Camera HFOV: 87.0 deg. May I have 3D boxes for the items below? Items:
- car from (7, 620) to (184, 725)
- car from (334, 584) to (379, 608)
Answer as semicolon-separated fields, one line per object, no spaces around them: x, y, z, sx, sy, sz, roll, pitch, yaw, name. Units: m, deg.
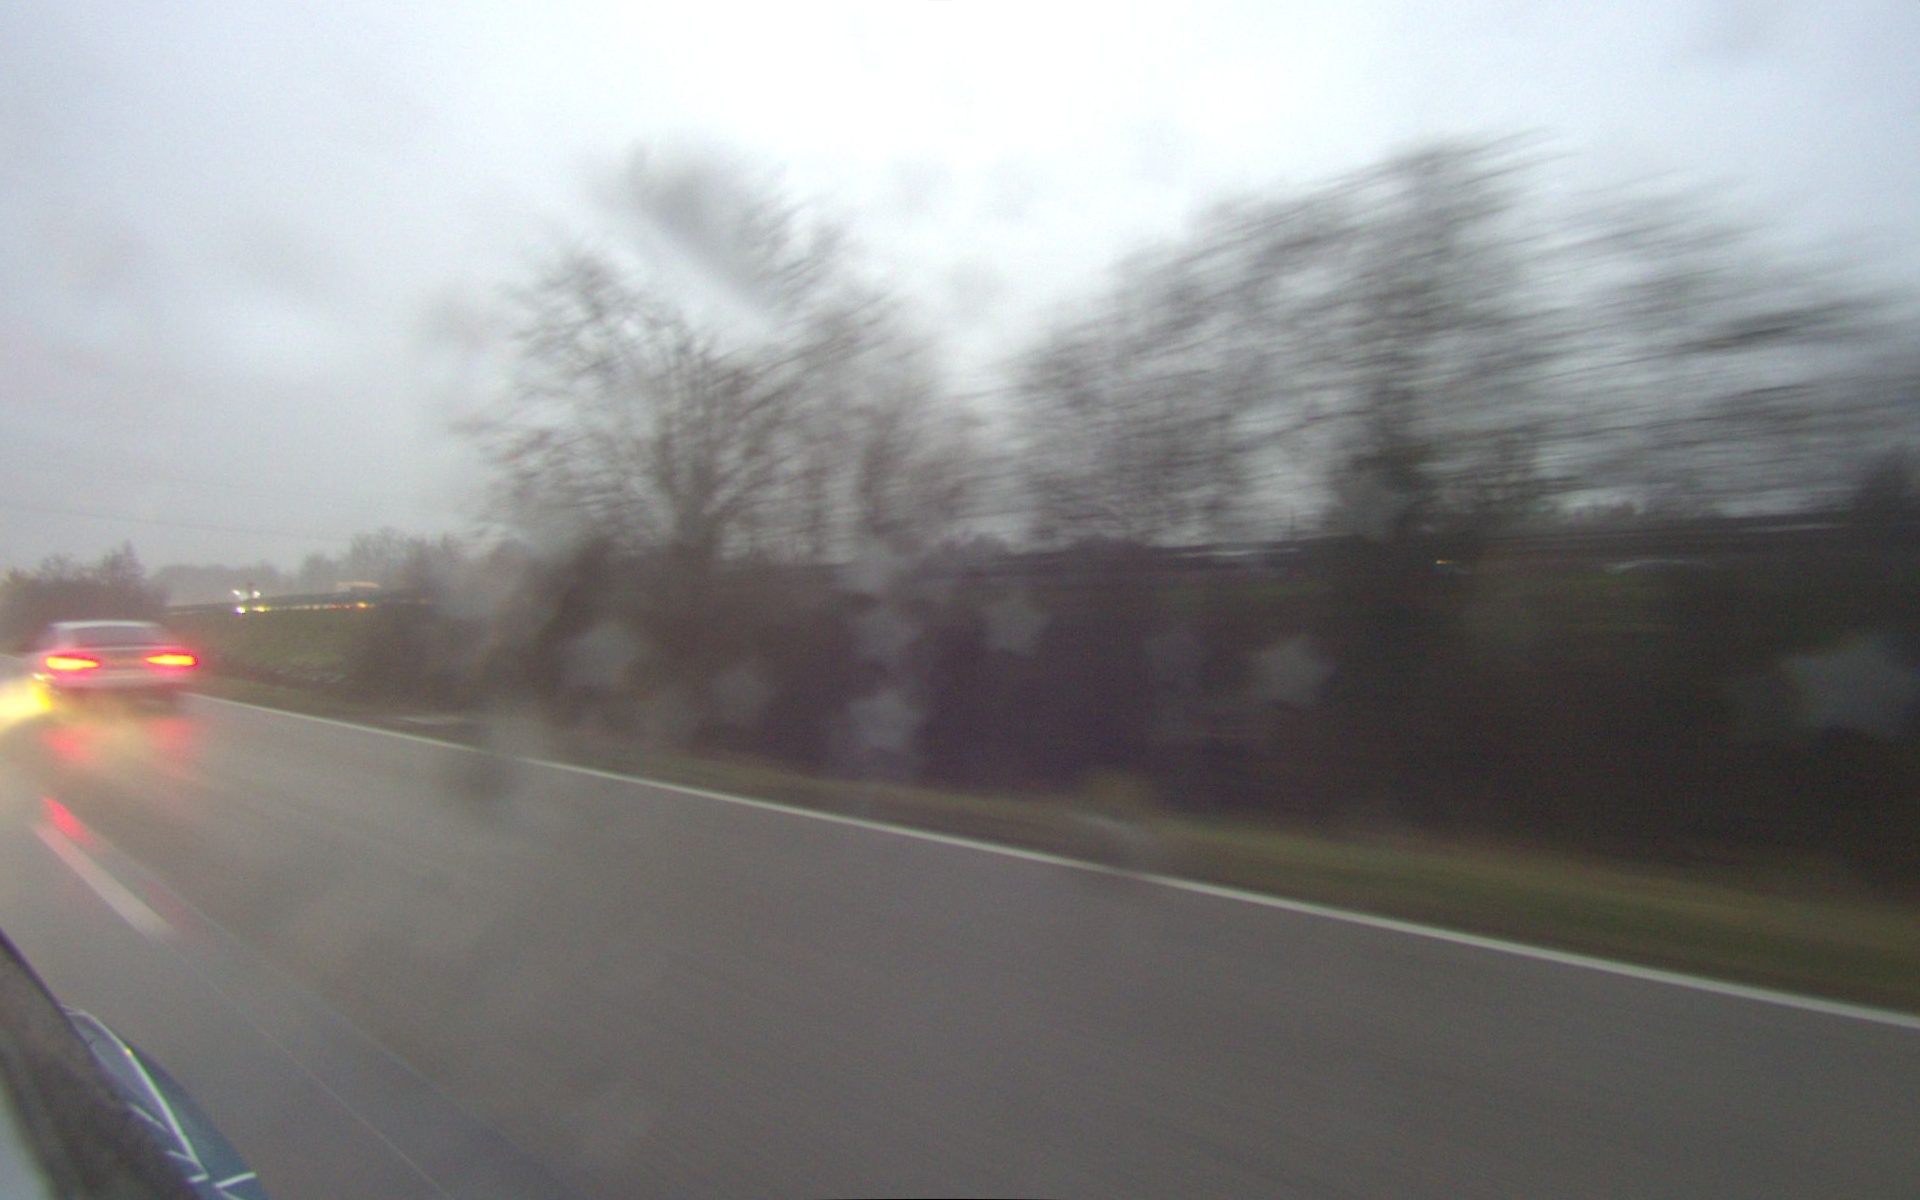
-14.564;1.124;16.964;4.411;1.518;1.671;-2;-1;41;car
-45.425;-0.301;76.144;4.108;1.725;1.704;-1;-1;41;car
